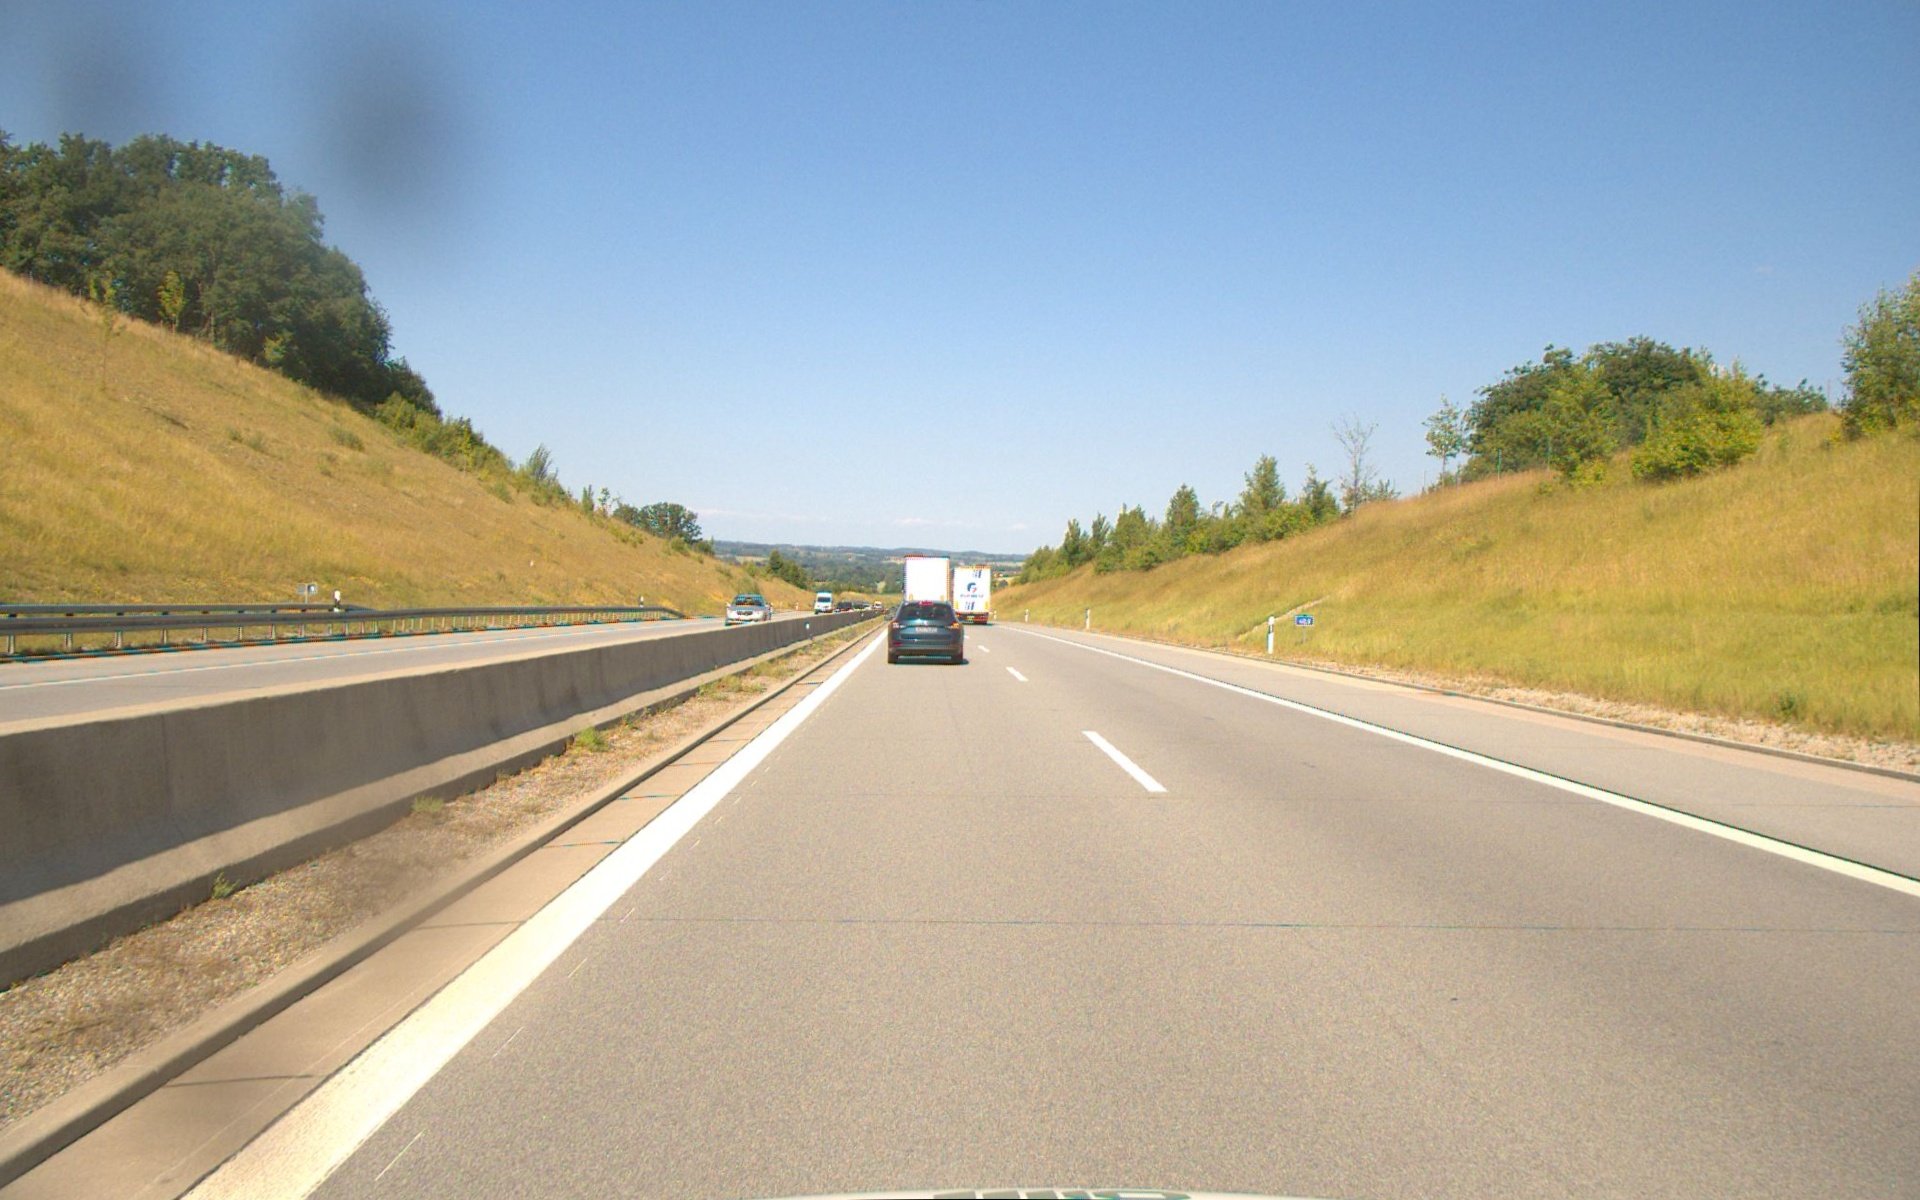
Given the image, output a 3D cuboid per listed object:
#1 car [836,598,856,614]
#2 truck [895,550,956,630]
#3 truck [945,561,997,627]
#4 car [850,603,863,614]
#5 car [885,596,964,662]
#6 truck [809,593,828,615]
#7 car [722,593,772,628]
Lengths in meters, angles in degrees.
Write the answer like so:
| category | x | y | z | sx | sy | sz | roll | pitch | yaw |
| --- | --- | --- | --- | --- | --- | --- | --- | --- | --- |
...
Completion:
| category | x | y | z | sx | sy | sz | roll | pitch | yaw |
| --- | --- | --- | --- | --- | --- | --- | --- | --- | --- |
| car | -11.161 | 0.588 | 161.730 | 1.816 | 1.487 | 4.766 | 1 | 0 | -2 |
| truck | -1.975 | -0.518 | 99.129 | 3.144 | 4.458 | 11.234 | 1 | 0 | 1 |
| truck | 0.805 | -0.407 | 119.831 | 3.530 | 4.458 | 11.233 | 1 | 0 | 1 |
| car | -14.576 | 1.250 | 232.988 | 1.816 | 1.487 | 4.331 | 1 | 0 | -2 |
| car | -0.883 | 0.654 | 39.029 | 1.741 | 1.466 | 3.786 | 0 | 0 | -3 |
| truck | -17.188 | 0.489 | 201.053 | 2.070 | 2.503 | 5.948 | 1 | 0 | -3 |
| car | -9.666 | 0.465 | 75.274 | 1.816 | 1.487 | 4.725 | 1 | 0 | -2 |
